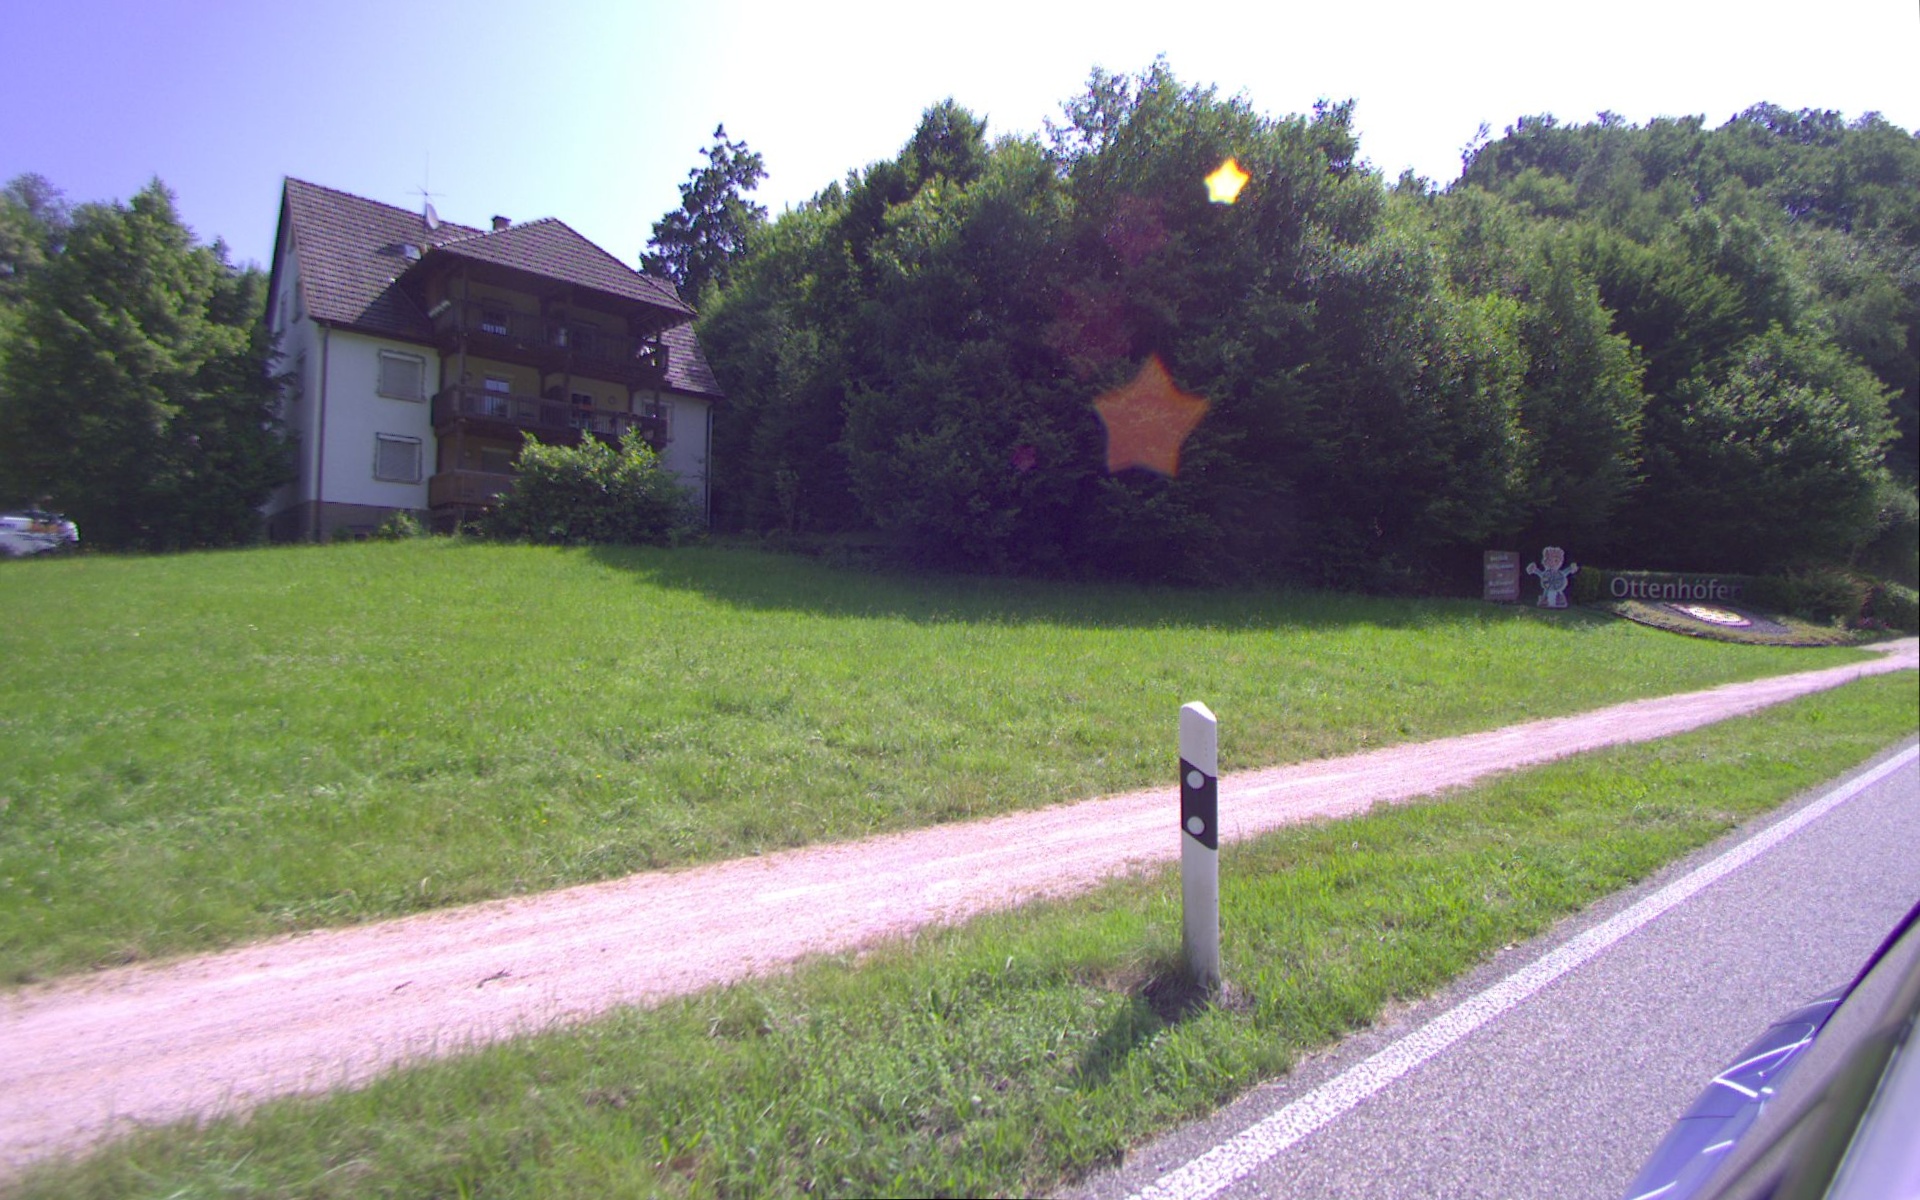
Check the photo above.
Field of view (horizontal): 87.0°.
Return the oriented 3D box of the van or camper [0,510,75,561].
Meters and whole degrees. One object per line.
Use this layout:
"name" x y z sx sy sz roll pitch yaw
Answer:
"van or camper" -40.472 -2.707 42.167 5.340 1.974 2.814 0 0 -40
